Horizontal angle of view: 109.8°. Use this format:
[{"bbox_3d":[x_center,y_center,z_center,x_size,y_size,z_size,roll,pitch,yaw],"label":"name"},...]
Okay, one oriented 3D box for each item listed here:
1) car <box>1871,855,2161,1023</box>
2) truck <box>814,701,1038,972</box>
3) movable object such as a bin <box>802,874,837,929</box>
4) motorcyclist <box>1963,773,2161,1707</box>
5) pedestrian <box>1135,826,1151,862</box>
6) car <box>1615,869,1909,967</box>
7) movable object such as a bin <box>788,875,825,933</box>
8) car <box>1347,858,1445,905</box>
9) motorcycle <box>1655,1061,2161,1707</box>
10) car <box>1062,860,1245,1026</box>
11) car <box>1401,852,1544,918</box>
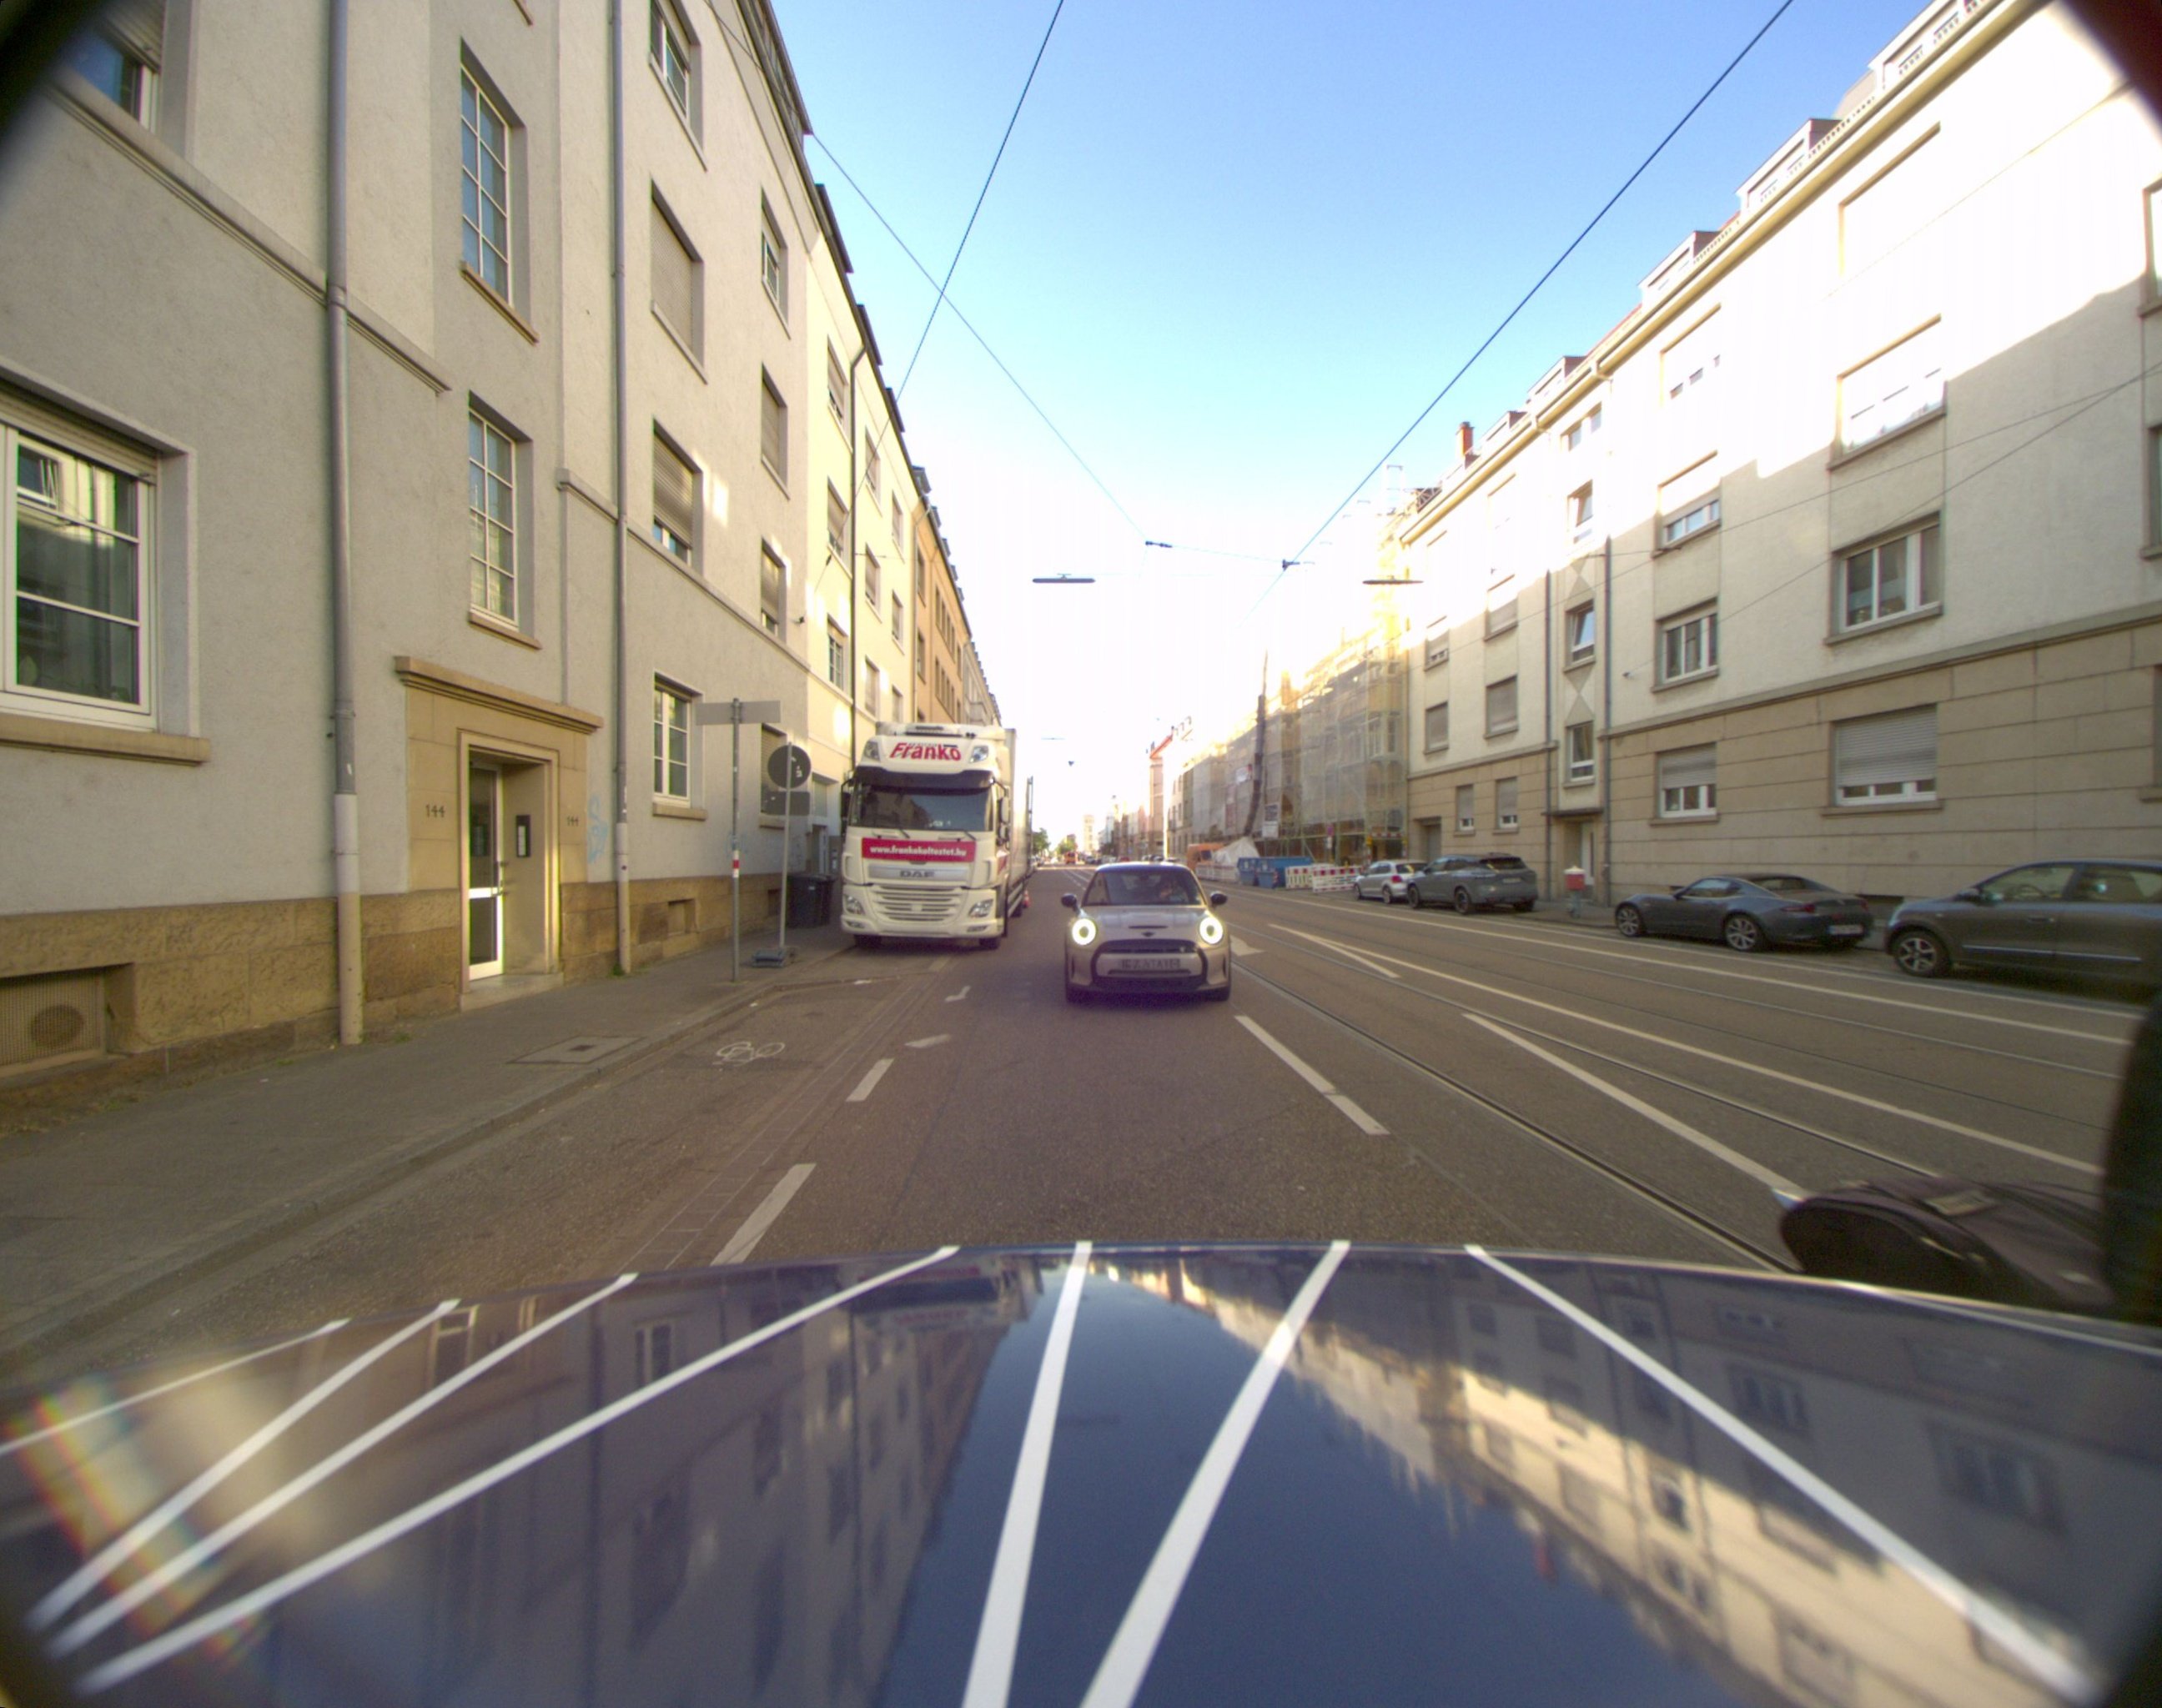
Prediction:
[{"bbox_3d":[11.412,0.839,8.390,1.670,1.563,3.496,-2,1,-2],"label":"car"},{"bbox_3d":[-2.625,-0.255,17.161,2.899,3.939,11.704,-2,0,-2],"label":"truck"},{"bbox_3d":[-5.352,0.964,15.573,0.512,1.085,0.495,-2,1,-4],"label":"movable object such as a bin"},{"bbox_3d":[1.487,0.655,0.603,0.862,1.496,0.598,-2,1,1],"label":"motorcyclist"},{"bbox_3d":[7.656,-1.289,94.306,1.723,4.377,1.153,-2,1,2],"label":"pedestrian"},{"bbox_3d":[11.259,0.971,12.917,1.751,1.269,3.488,-2,1,-4],"label":"car"},{"bbox_3d":[-5.409,0.971,14.997,0.512,1.085,0.495,-2,1,-4],"label":"movable object such as a bin"},{"bbox_3d":[10.629,0.868,25.920,1.637,1.383,3.643,-2,1,-3],"label":"car"},{"bbox_3d":[1.462,1.053,0.587,0.538,1.212,1.981,-2,1,1],"label":"motorcycle"},{"bbox_3d":[0.667,0.840,9.023,1.692,1.495,4.000,0,0,0],"label":"car"},{"bbox_3d":[10.801,0.783,21.319,1.712,1.582,4.112,-2,1,-3],"label":"car"}]
